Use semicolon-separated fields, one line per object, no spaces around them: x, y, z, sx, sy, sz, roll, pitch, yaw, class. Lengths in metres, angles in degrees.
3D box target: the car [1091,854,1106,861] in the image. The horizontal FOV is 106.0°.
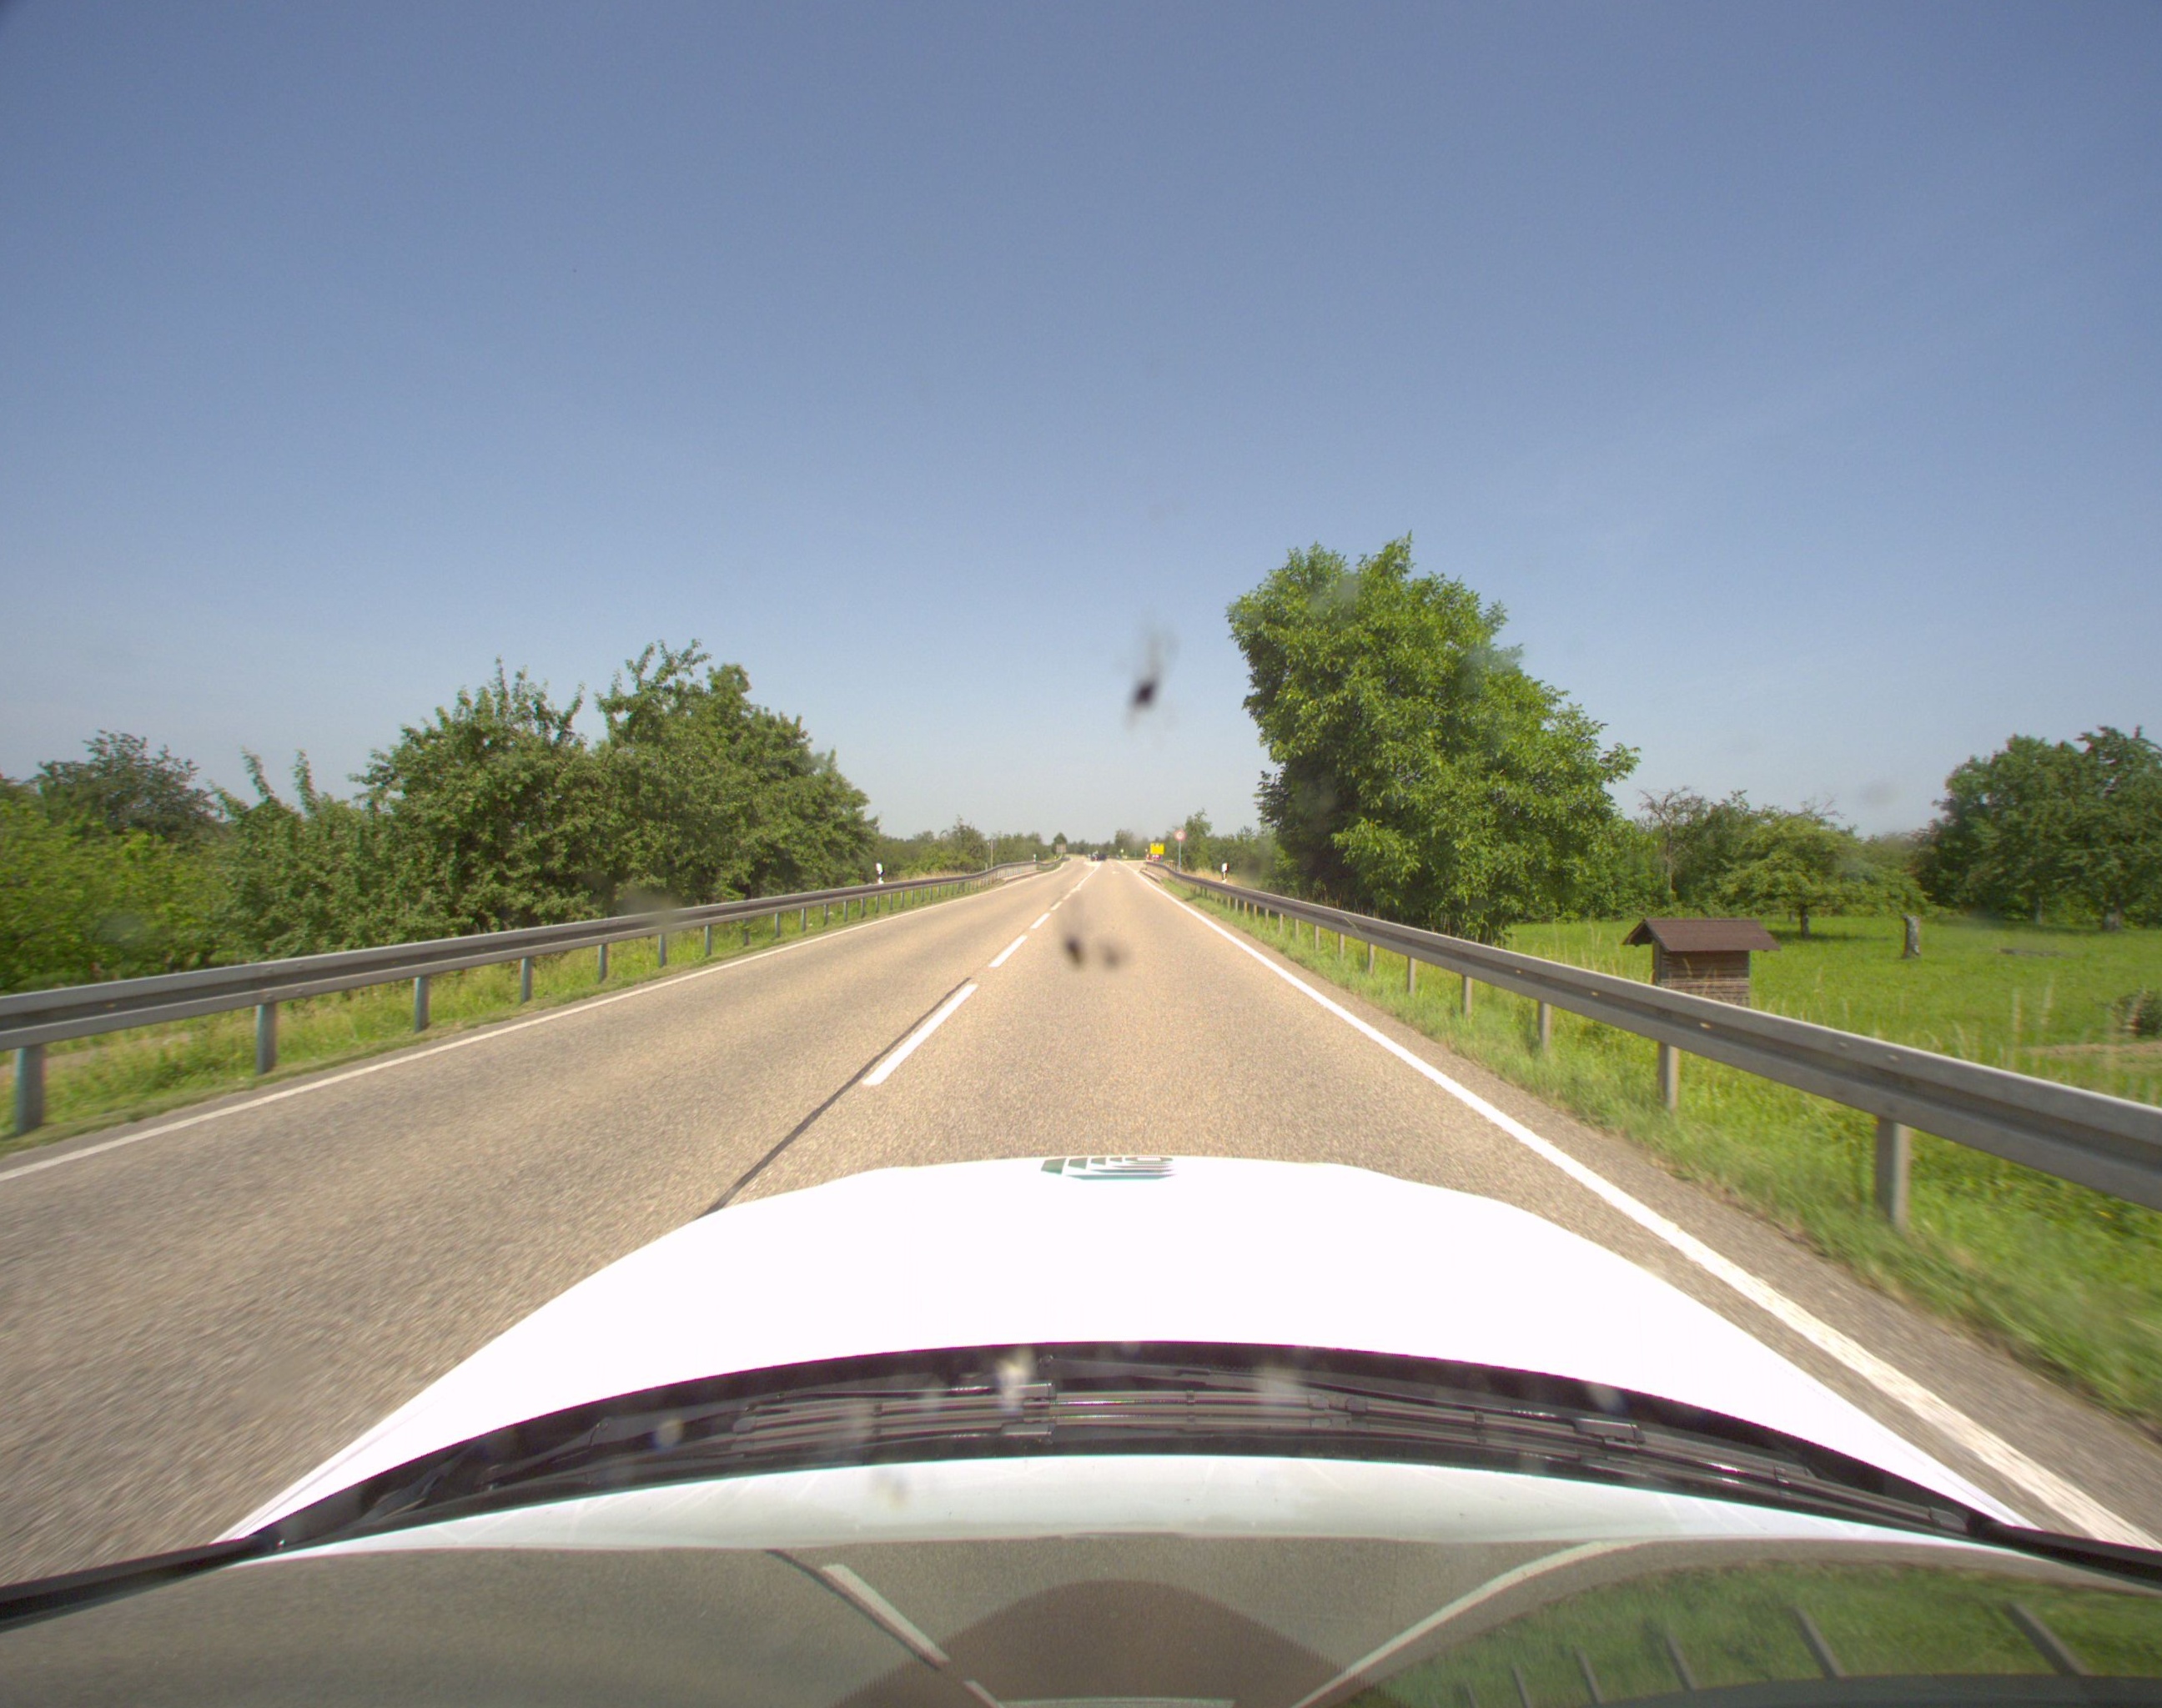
3.912;0.758;182.845;1.787;1.637;4.836;-1;-1;23;car
